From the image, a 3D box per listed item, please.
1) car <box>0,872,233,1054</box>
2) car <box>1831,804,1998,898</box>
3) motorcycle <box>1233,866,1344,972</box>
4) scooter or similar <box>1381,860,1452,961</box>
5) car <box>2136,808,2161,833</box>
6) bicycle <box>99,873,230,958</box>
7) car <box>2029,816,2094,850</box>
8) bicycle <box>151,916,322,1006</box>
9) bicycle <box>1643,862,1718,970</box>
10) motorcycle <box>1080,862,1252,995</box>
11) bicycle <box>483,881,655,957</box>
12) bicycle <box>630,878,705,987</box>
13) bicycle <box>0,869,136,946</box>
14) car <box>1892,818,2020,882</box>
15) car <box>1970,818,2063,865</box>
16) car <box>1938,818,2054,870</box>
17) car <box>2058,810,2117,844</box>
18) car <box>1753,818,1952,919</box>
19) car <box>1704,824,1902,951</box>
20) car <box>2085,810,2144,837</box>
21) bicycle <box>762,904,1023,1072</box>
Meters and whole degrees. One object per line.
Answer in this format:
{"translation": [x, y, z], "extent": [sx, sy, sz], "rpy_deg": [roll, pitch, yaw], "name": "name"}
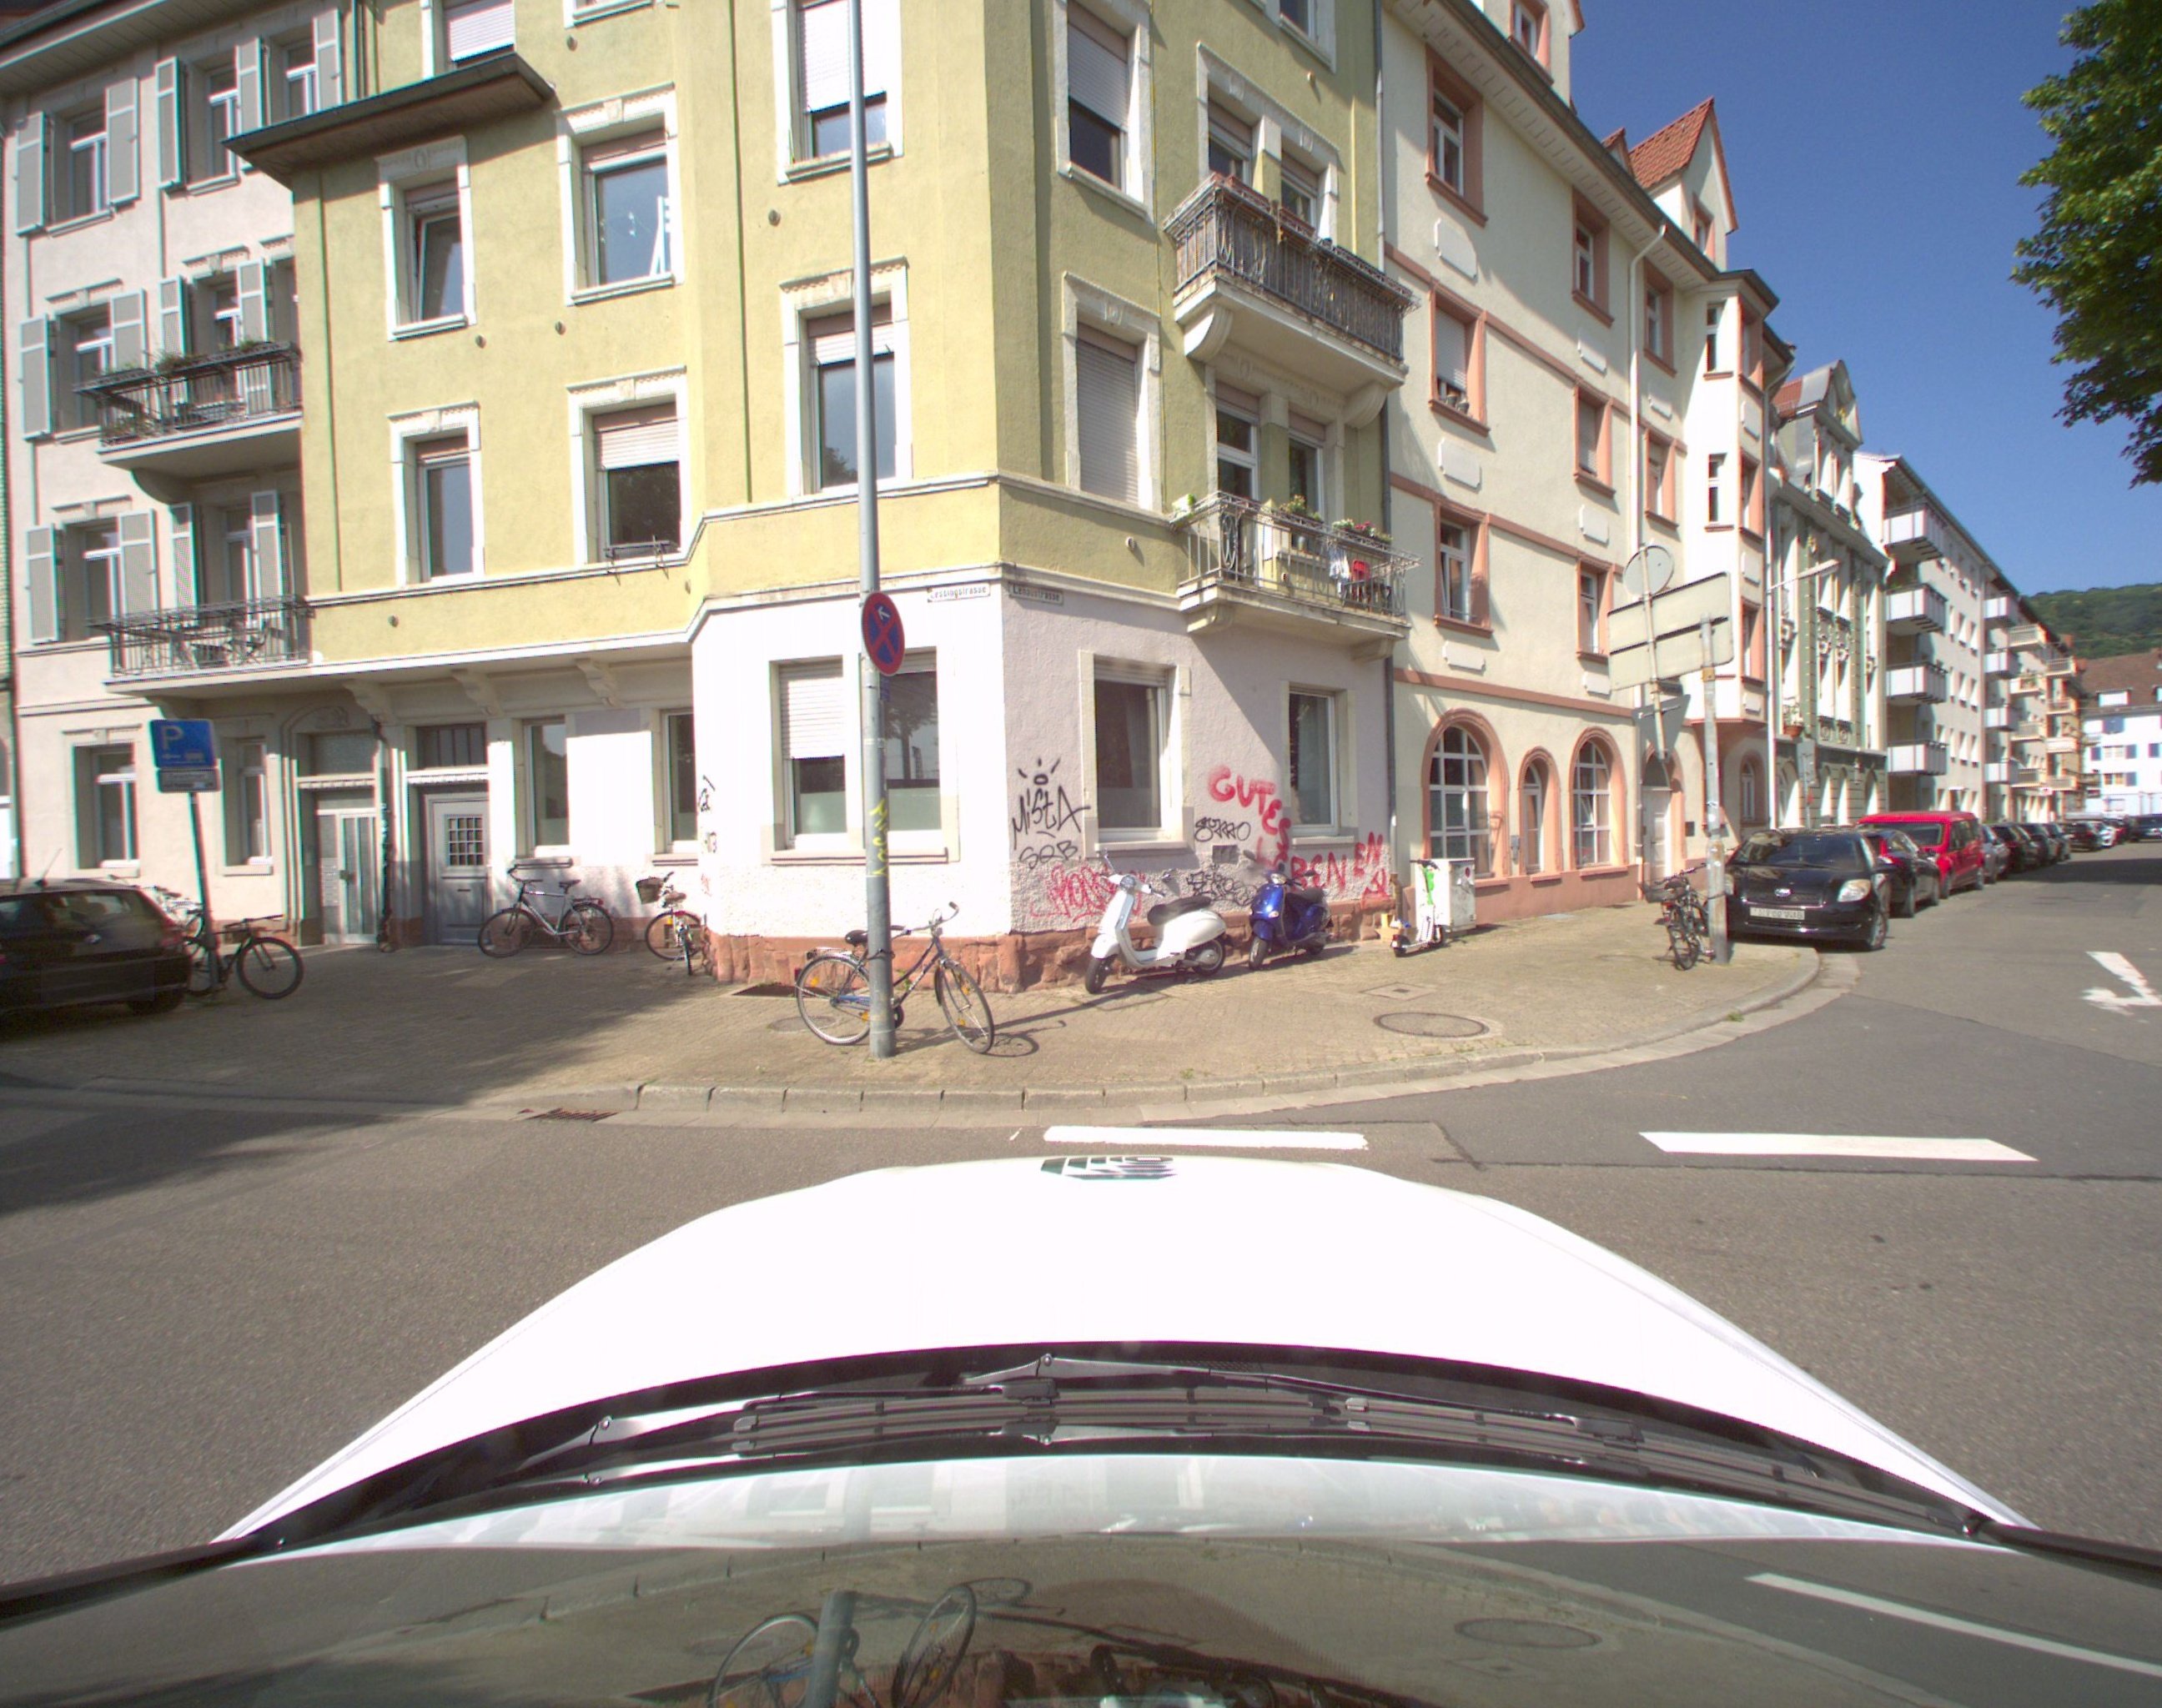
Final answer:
{"translation": [-10.860, 0.978, 7.882], "extent": [4.039, 1.416, 1.753], "rpy_deg": [-1, 2, 13], "name": "car"}
{"translation": [18.264, -0.126, 17.796], "extent": [4.244, 1.840, 1.852], "rpy_deg": [-2, 1, -35], "name": "car"}
{"translation": [2.460, 0.726, 9.568], "extent": [1.456, 1.094, 0.424], "rpy_deg": [-2, 2, -35], "name": "motorcycle"}
{"translation": [4.208, 0.669, 10.172], "extent": [0.271, 1.127, 1.456], "rpy_deg": [1, 3, 45], "name": "scooter or similar"}
{"translation": [65.962, -2.095, 49.681], "extent": [3.795, 1.460, 1.735], "rpy_deg": [-2, 1, -34], "name": "car"}
{"translation": [-14.142, 0.923, 12.574], "extent": [1.610, 1.180, 0.569], "rpy_deg": [2, 3, 11], "name": "bicycle"}
{"translation": [47.236, -1.019, 39.232], "extent": [3.881, 1.486, 1.848], "rpy_deg": [-2, 1, -37], "name": "car"}
{"translation": [-9.196, 1.157, 8.874], "extent": [1.566, 0.891, 0.451], "rpy_deg": [-1, 2, 10], "name": "bicycle"}
{"translation": [6.886, 0.654, 9.342], "extent": [0.618, 1.034, 1.895], "rpy_deg": [-1, 1, 37], "name": "bicycle"}
{"translation": [0.892, 0.711, 8.303], "extent": [1.769, 1.150, 0.469], "rpy_deg": [-3, 3, -28], "name": "motorcycle"}
{"translation": [-6.955, 0.877, 11.081], "extent": [2.093, 0.945, 0.612], "rpy_deg": [-1, 3, 12], "name": "bicycle"}
{"translation": [-4.876, 0.865, 9.548], "extent": [0.540, 1.046, 1.809], "rpy_deg": [-3, 3, -34], "name": "bicycle"}
{"translation": [-16.424, 0.861, 13.205], "extent": [1.610, 1.146, 0.659], "rpy_deg": [-1, 3, 11], "name": "bicycle"}
{"translation": [22.833, -0.139, 21.211], "extent": [4.018, 1.486, 1.848], "rpy_deg": [-2, 1, -37], "name": "car"}
{"translation": [32.298, -0.442, 28.092], "extent": [4.019, 1.486, 1.848], "rpy_deg": [-2, 1, -37], "name": "car"}
{"translation": [28.256, -0.334, 25.135], "extent": [4.016, 1.486, 1.849], "rpy_deg": [-2, 1, -34], "name": "car"}
{"translation": [53.071, -1.433, 42.934], "extent": [3.881, 1.722, 1.848], "rpy_deg": [-2, 1, -37], "name": "car"}
{"translation": [13.961, 0.191, 14.677], "extent": [4.082, 1.542, 1.966], "rpy_deg": [-2, 0, -37], "name": "car"}
{"translation": [10.133, 0.344, 11.387], "extent": [1.804, 1.446, 3.791], "rpy_deg": [-1, 1, 44], "name": "car"}
{"translation": [61.593, -1.838, 48.529], "extent": [4.017, 1.478, 1.978], "rpy_deg": [-2, 1, -35], "name": "car"}
{"translation": [-1.348, 0.946, 5.923], "extent": [1.718, 1.087, 0.580], "rpy_deg": [-1, 1, 10], "name": "bicycle"}
